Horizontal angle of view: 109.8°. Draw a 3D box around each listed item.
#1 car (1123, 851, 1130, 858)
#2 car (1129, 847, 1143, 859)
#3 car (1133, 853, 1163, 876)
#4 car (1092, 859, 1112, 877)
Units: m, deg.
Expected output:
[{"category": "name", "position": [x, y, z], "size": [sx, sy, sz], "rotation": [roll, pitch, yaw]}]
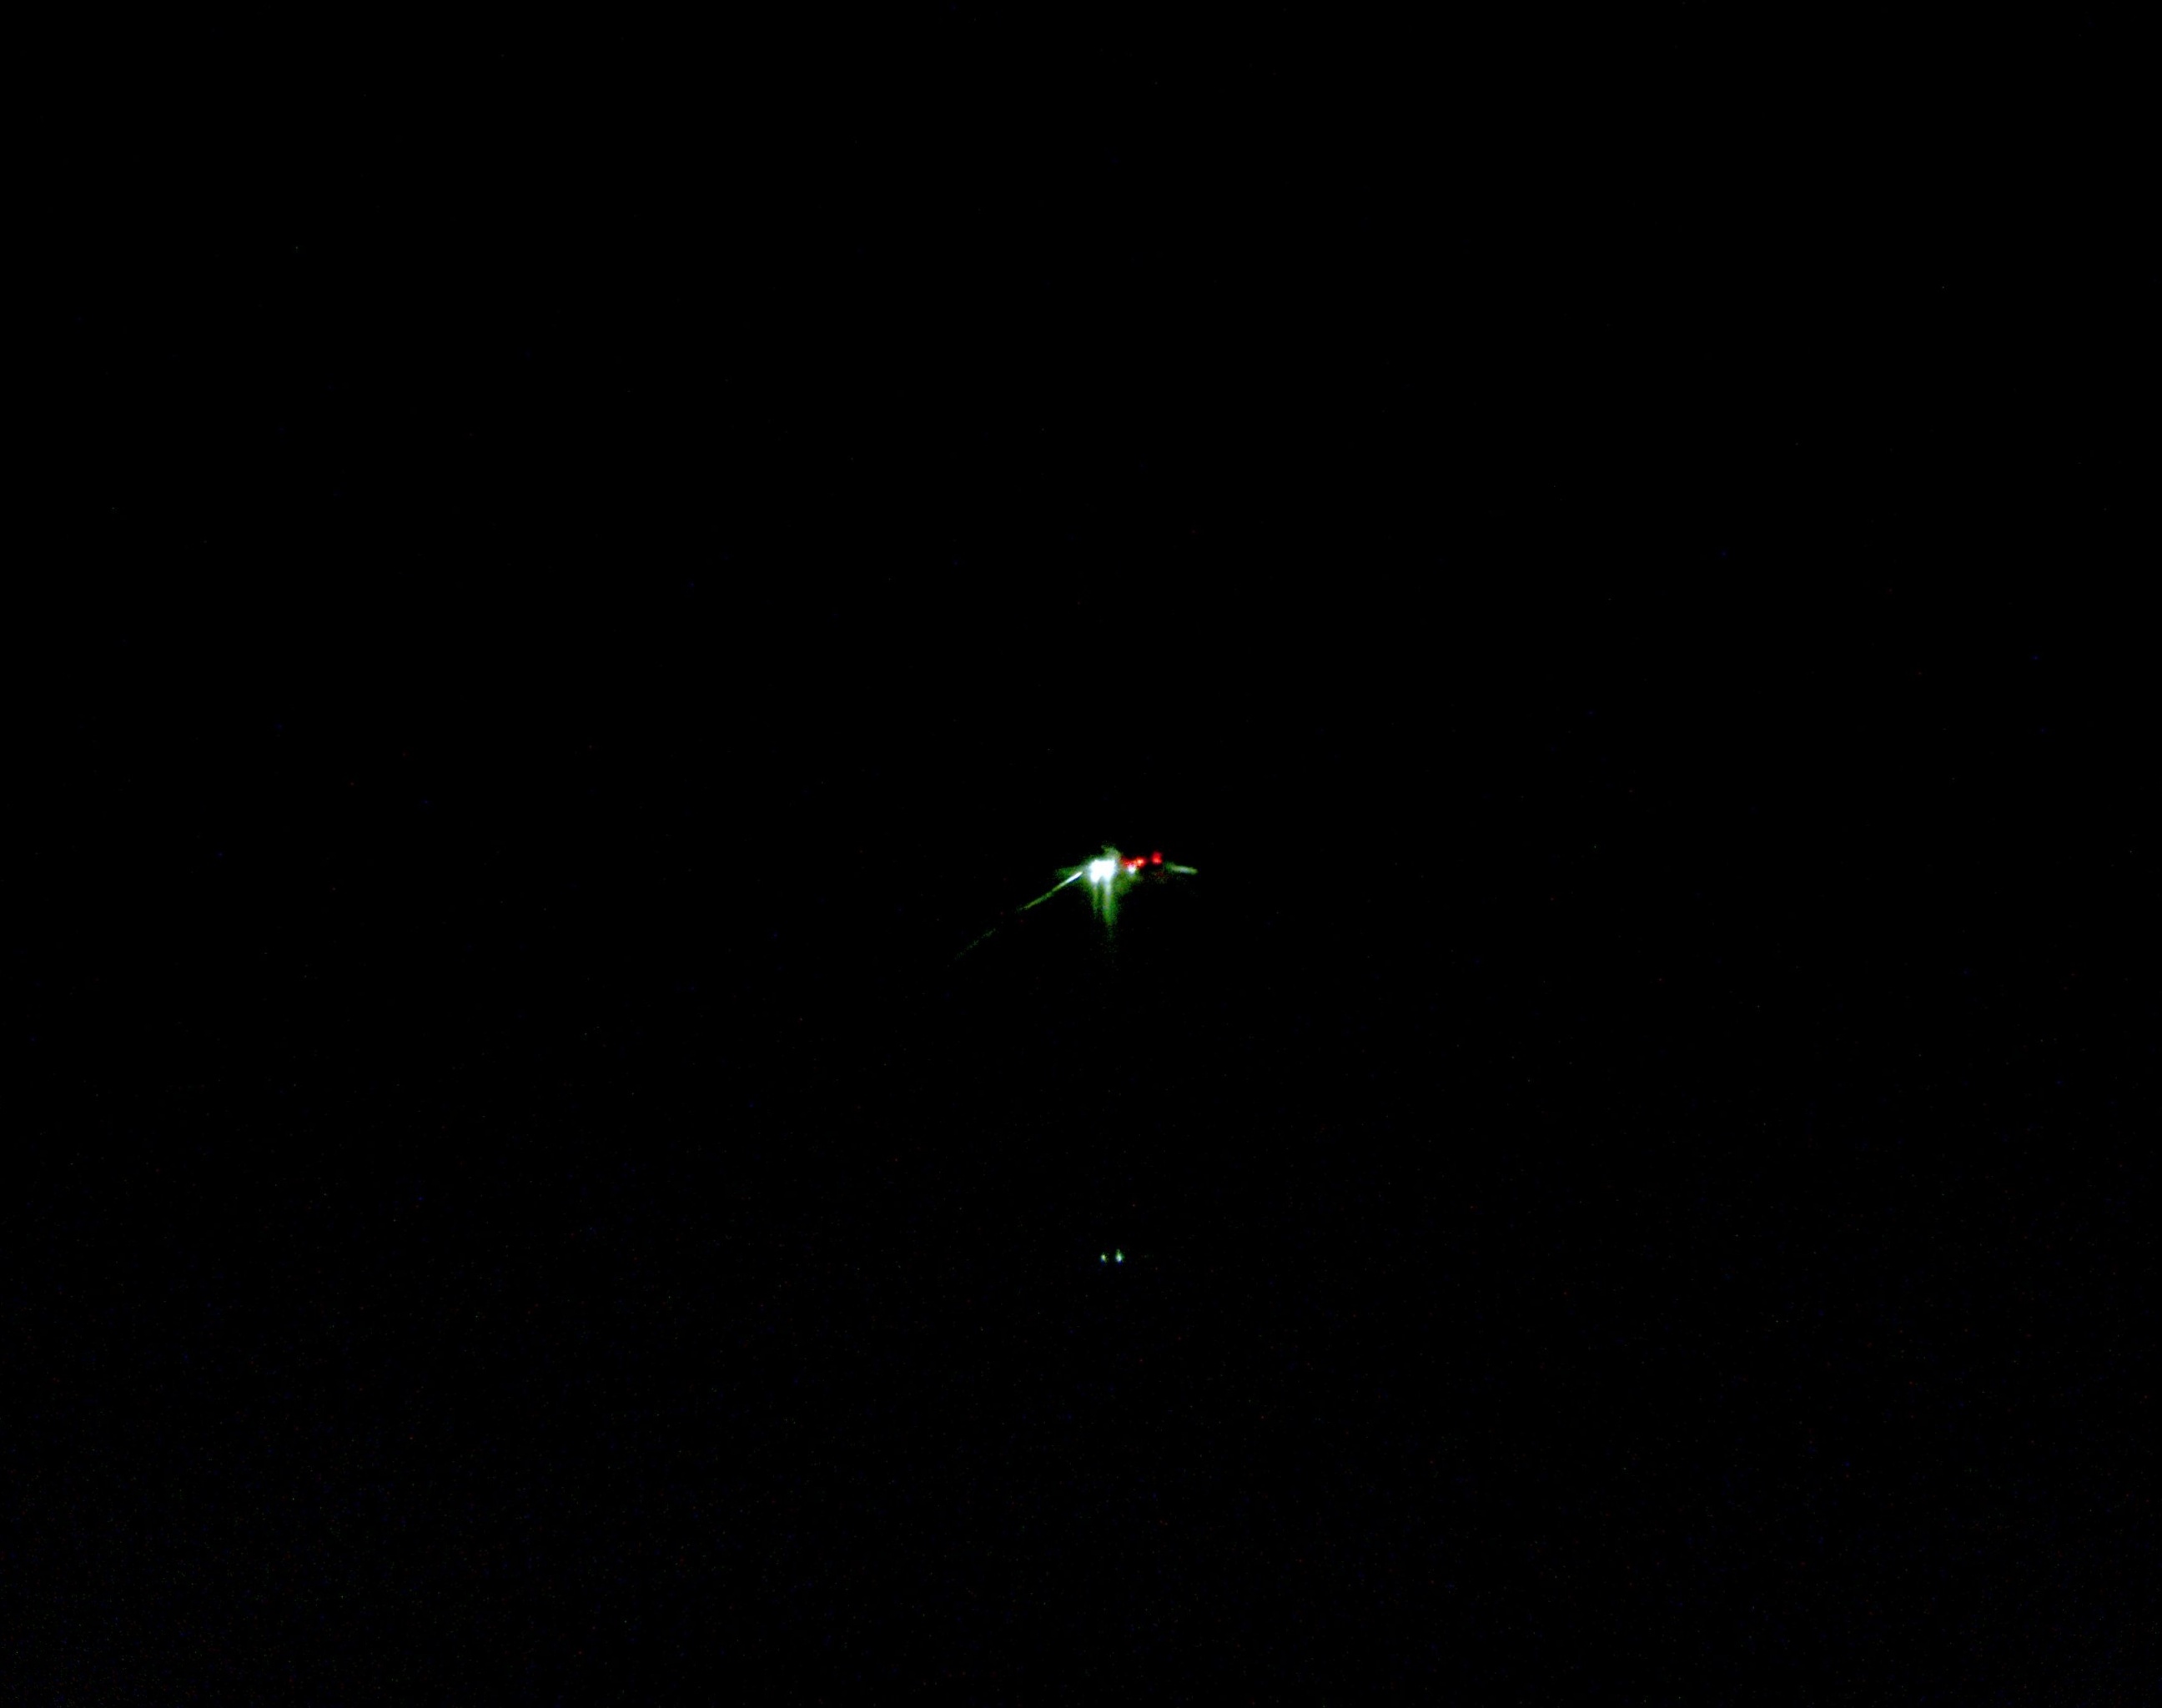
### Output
[{"category": "car", "position": [14.218, 0.146, 237.125], "size": [1.818, 1.724, 4.000], "rotation": [-4, 1, 2]}, {"category": "car", "position": [6.881, -0.154, 94.663], "size": [1.585, 1.377, 3.585], "rotation": [-3, 1, 2]}, {"category": "car", "position": [4.782, 0.702, 54.783], "size": [1.822, 1.546, 3.871], "rotation": [-1, 1, 1]}, {"category": "car", "position": [2.260, 1.487, 81.457], "size": [1.998, 1.724, 4.000], "rotation": [-3, 1, 2]}]
